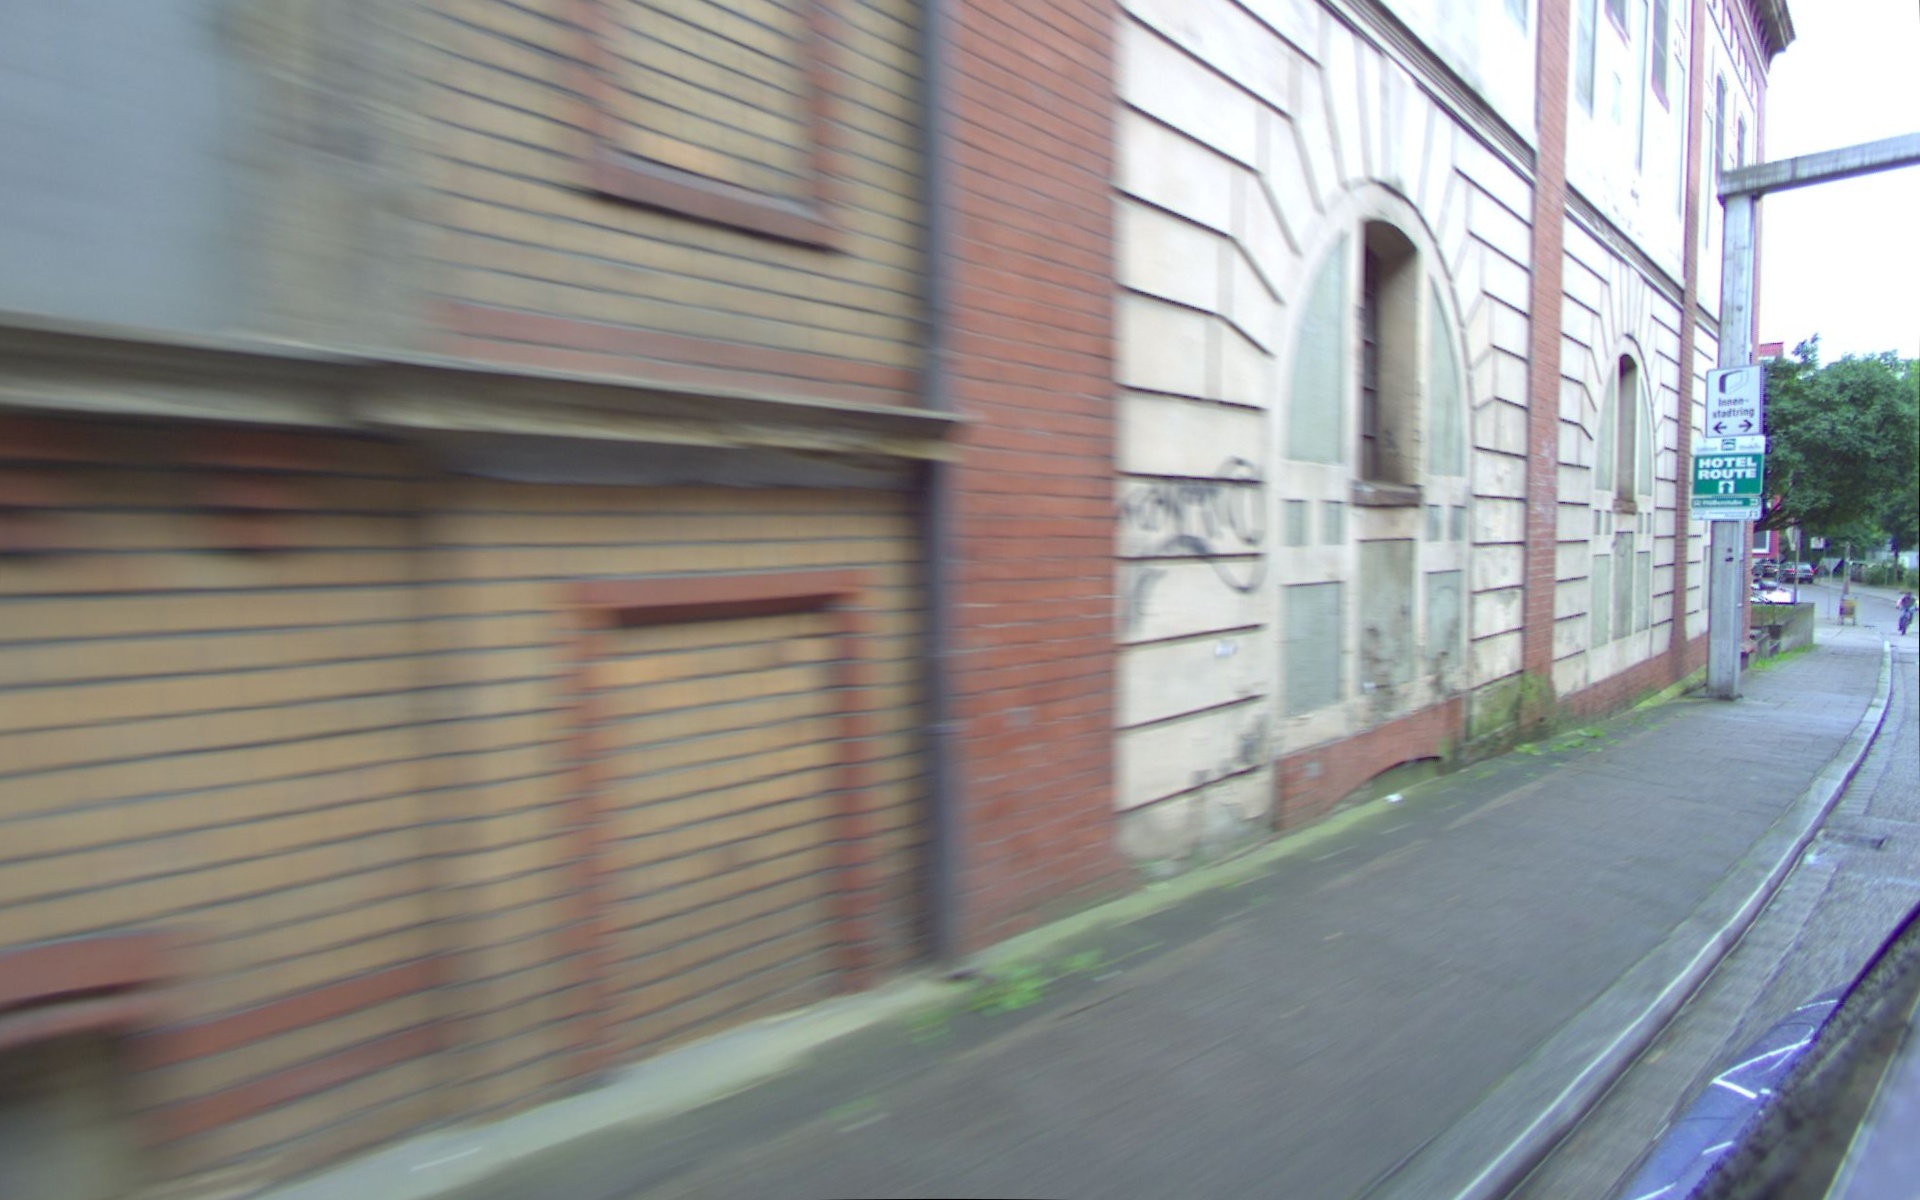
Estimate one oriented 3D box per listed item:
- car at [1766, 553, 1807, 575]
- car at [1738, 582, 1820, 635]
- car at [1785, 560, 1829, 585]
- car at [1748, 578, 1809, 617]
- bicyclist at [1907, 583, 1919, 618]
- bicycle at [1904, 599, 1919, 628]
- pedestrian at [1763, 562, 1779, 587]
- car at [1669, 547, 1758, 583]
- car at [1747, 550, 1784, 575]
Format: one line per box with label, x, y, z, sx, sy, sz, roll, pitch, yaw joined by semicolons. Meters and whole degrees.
car;69.703;-3.076;85.387;1.892;1.670;3.962;2;5;29
car;28.258;0.288;34.873;1.853;1.637;4.839;3;1;43
car;66.627;-2.194;79.670;1.892;1.670;3.962;2;5;29
car;41.987;-0.163;51.994;1.919;1.732;4.440;3;4;33
bicyclist;42.172;0.035;44.301;0.951;1.508;0.888;0;2;-40
bicycle;42.178;0.599;44.339;2.095;1.202;0.888;0;2;-40
pedestrian;52.602;-1.657;65.614;0.698;1.585;0.615;1;5;32
car;53.382;-2.507;71.791;4.868;2.236;1.859;4;7;38
car;73.012;-3.435;91.740;1.892;2.099;3.962;2;5;29
